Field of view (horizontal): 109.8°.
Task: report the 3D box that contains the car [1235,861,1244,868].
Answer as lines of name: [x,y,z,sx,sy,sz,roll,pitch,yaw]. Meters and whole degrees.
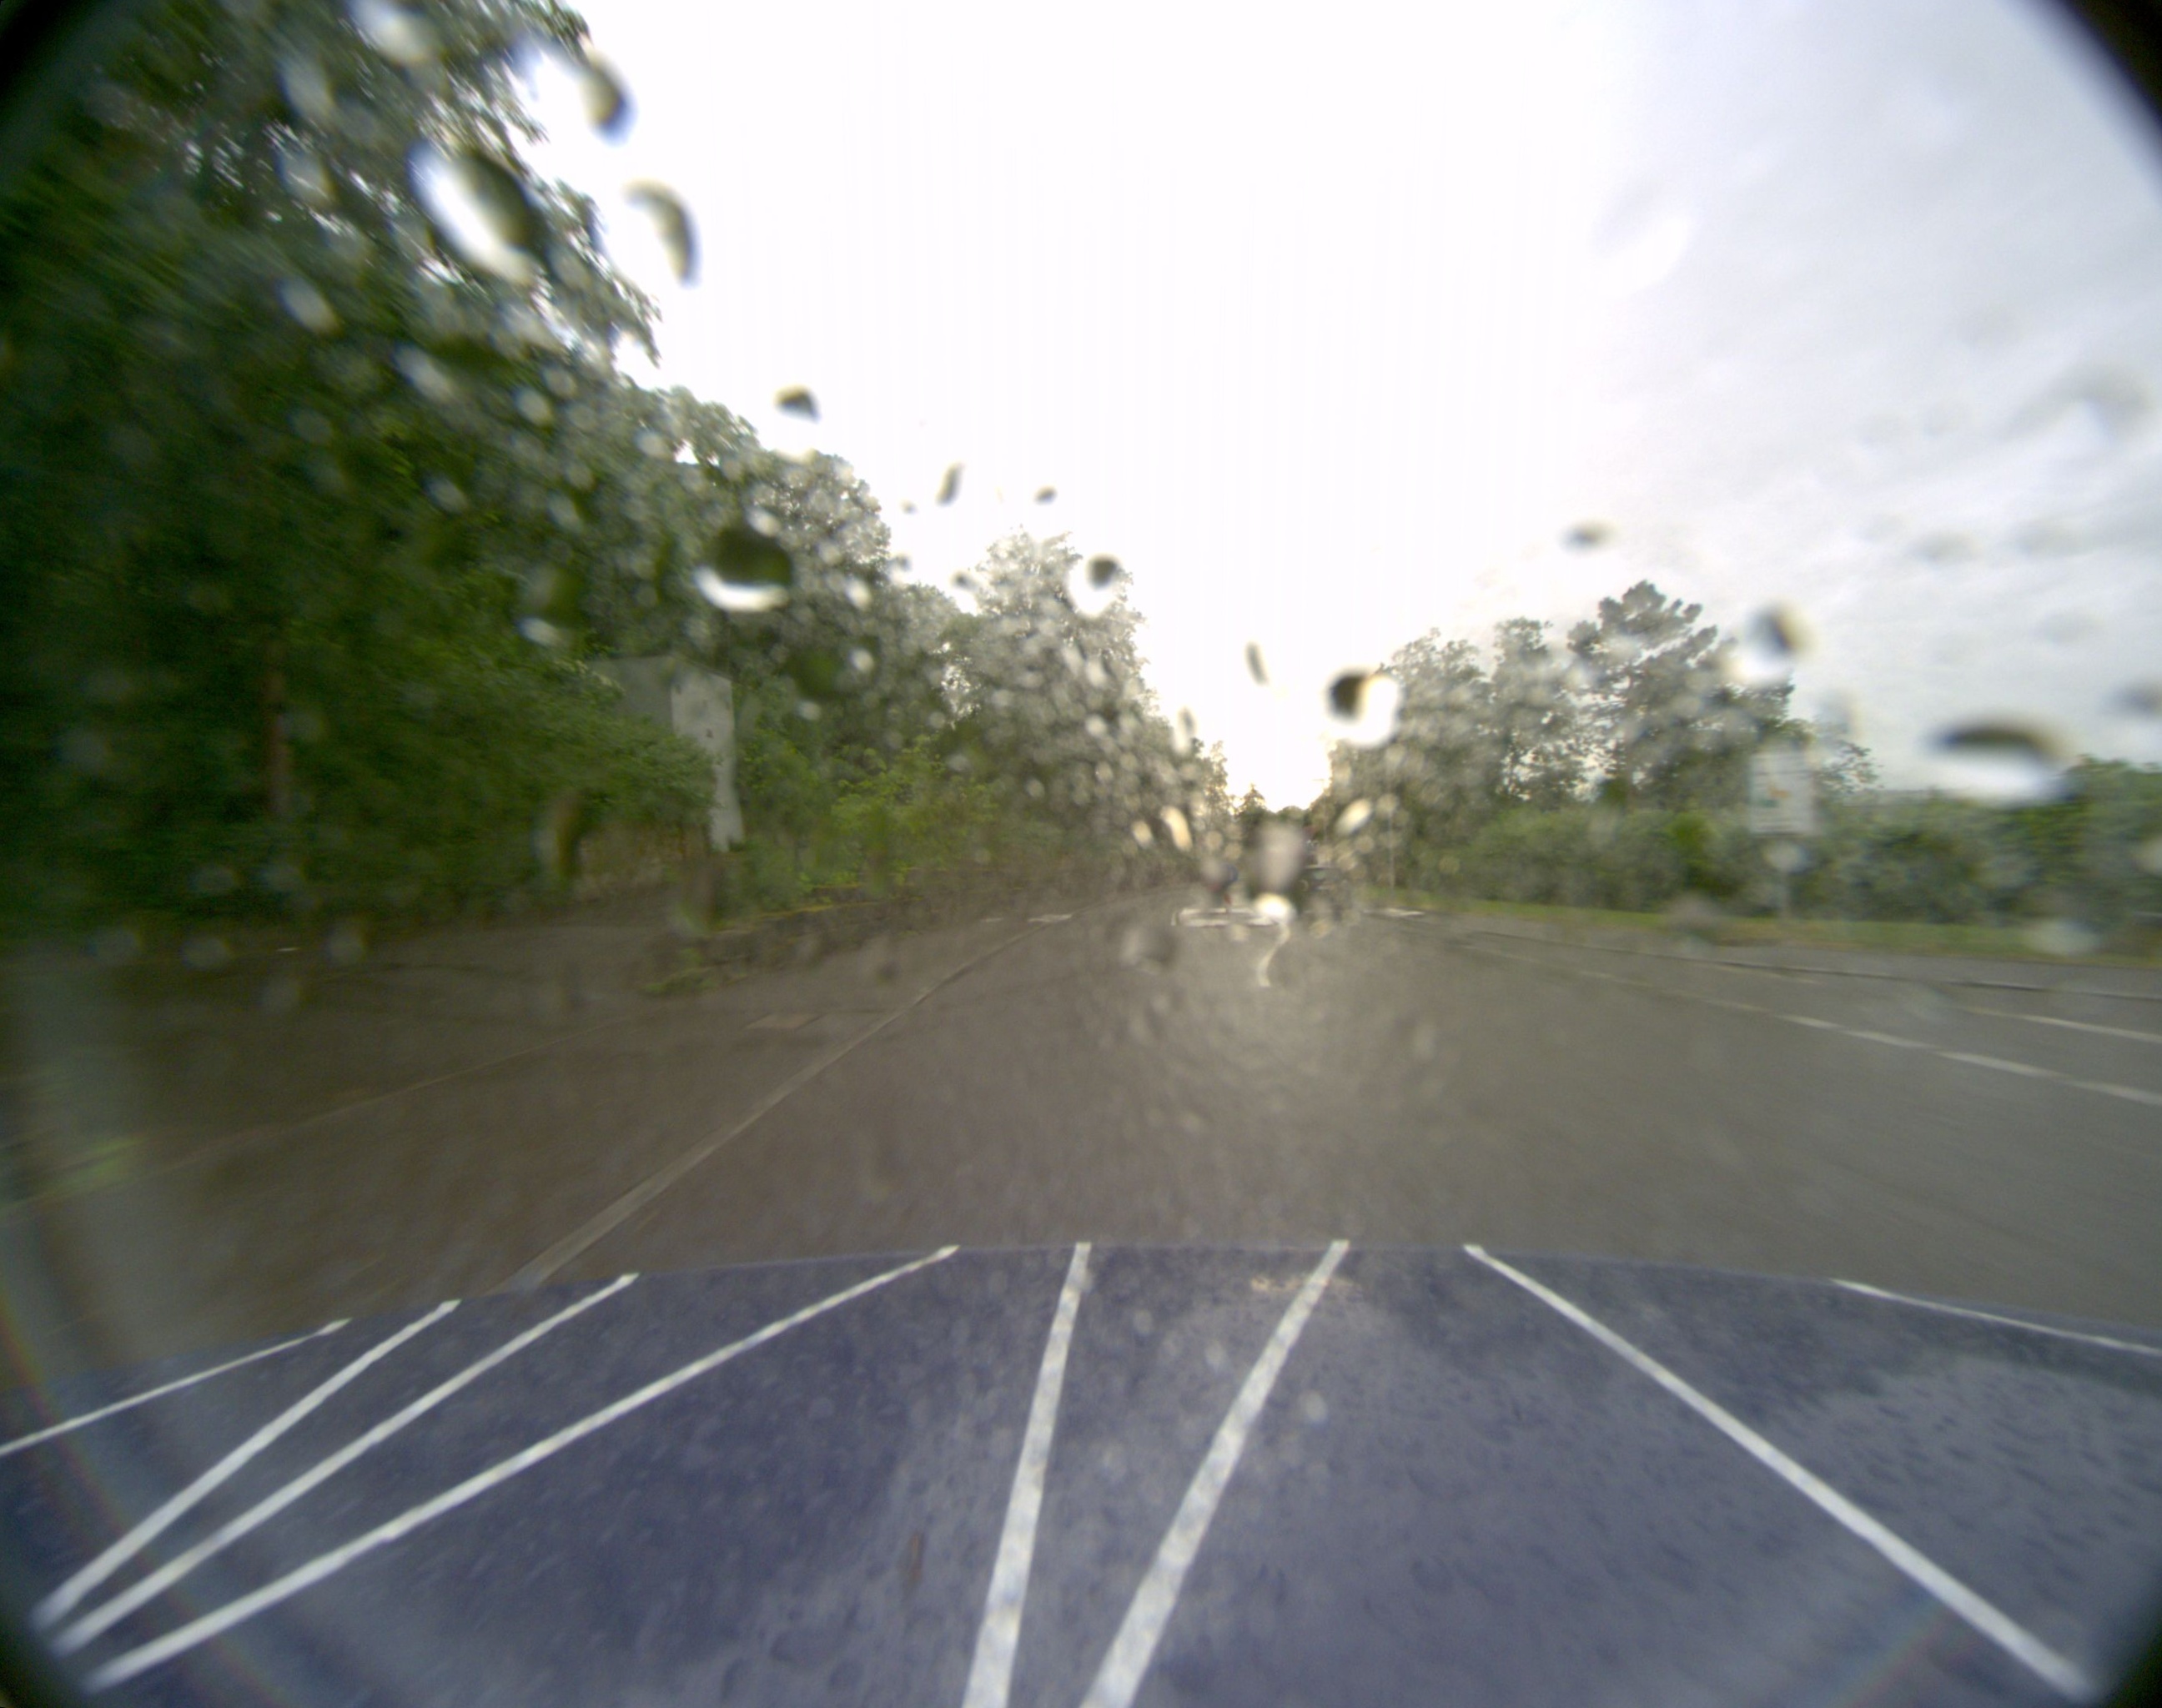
car: [37.727,2.413,180.903,1.838,1.502,4.171,-2,0,7]

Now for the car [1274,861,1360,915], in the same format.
car: [7.573,1.026,24.827,1.835,1.511,4.629,-1,0,6]

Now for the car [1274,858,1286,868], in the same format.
car: [34.772,1.589,132.911,1.921,1.638,4.551,-1,0,13]
